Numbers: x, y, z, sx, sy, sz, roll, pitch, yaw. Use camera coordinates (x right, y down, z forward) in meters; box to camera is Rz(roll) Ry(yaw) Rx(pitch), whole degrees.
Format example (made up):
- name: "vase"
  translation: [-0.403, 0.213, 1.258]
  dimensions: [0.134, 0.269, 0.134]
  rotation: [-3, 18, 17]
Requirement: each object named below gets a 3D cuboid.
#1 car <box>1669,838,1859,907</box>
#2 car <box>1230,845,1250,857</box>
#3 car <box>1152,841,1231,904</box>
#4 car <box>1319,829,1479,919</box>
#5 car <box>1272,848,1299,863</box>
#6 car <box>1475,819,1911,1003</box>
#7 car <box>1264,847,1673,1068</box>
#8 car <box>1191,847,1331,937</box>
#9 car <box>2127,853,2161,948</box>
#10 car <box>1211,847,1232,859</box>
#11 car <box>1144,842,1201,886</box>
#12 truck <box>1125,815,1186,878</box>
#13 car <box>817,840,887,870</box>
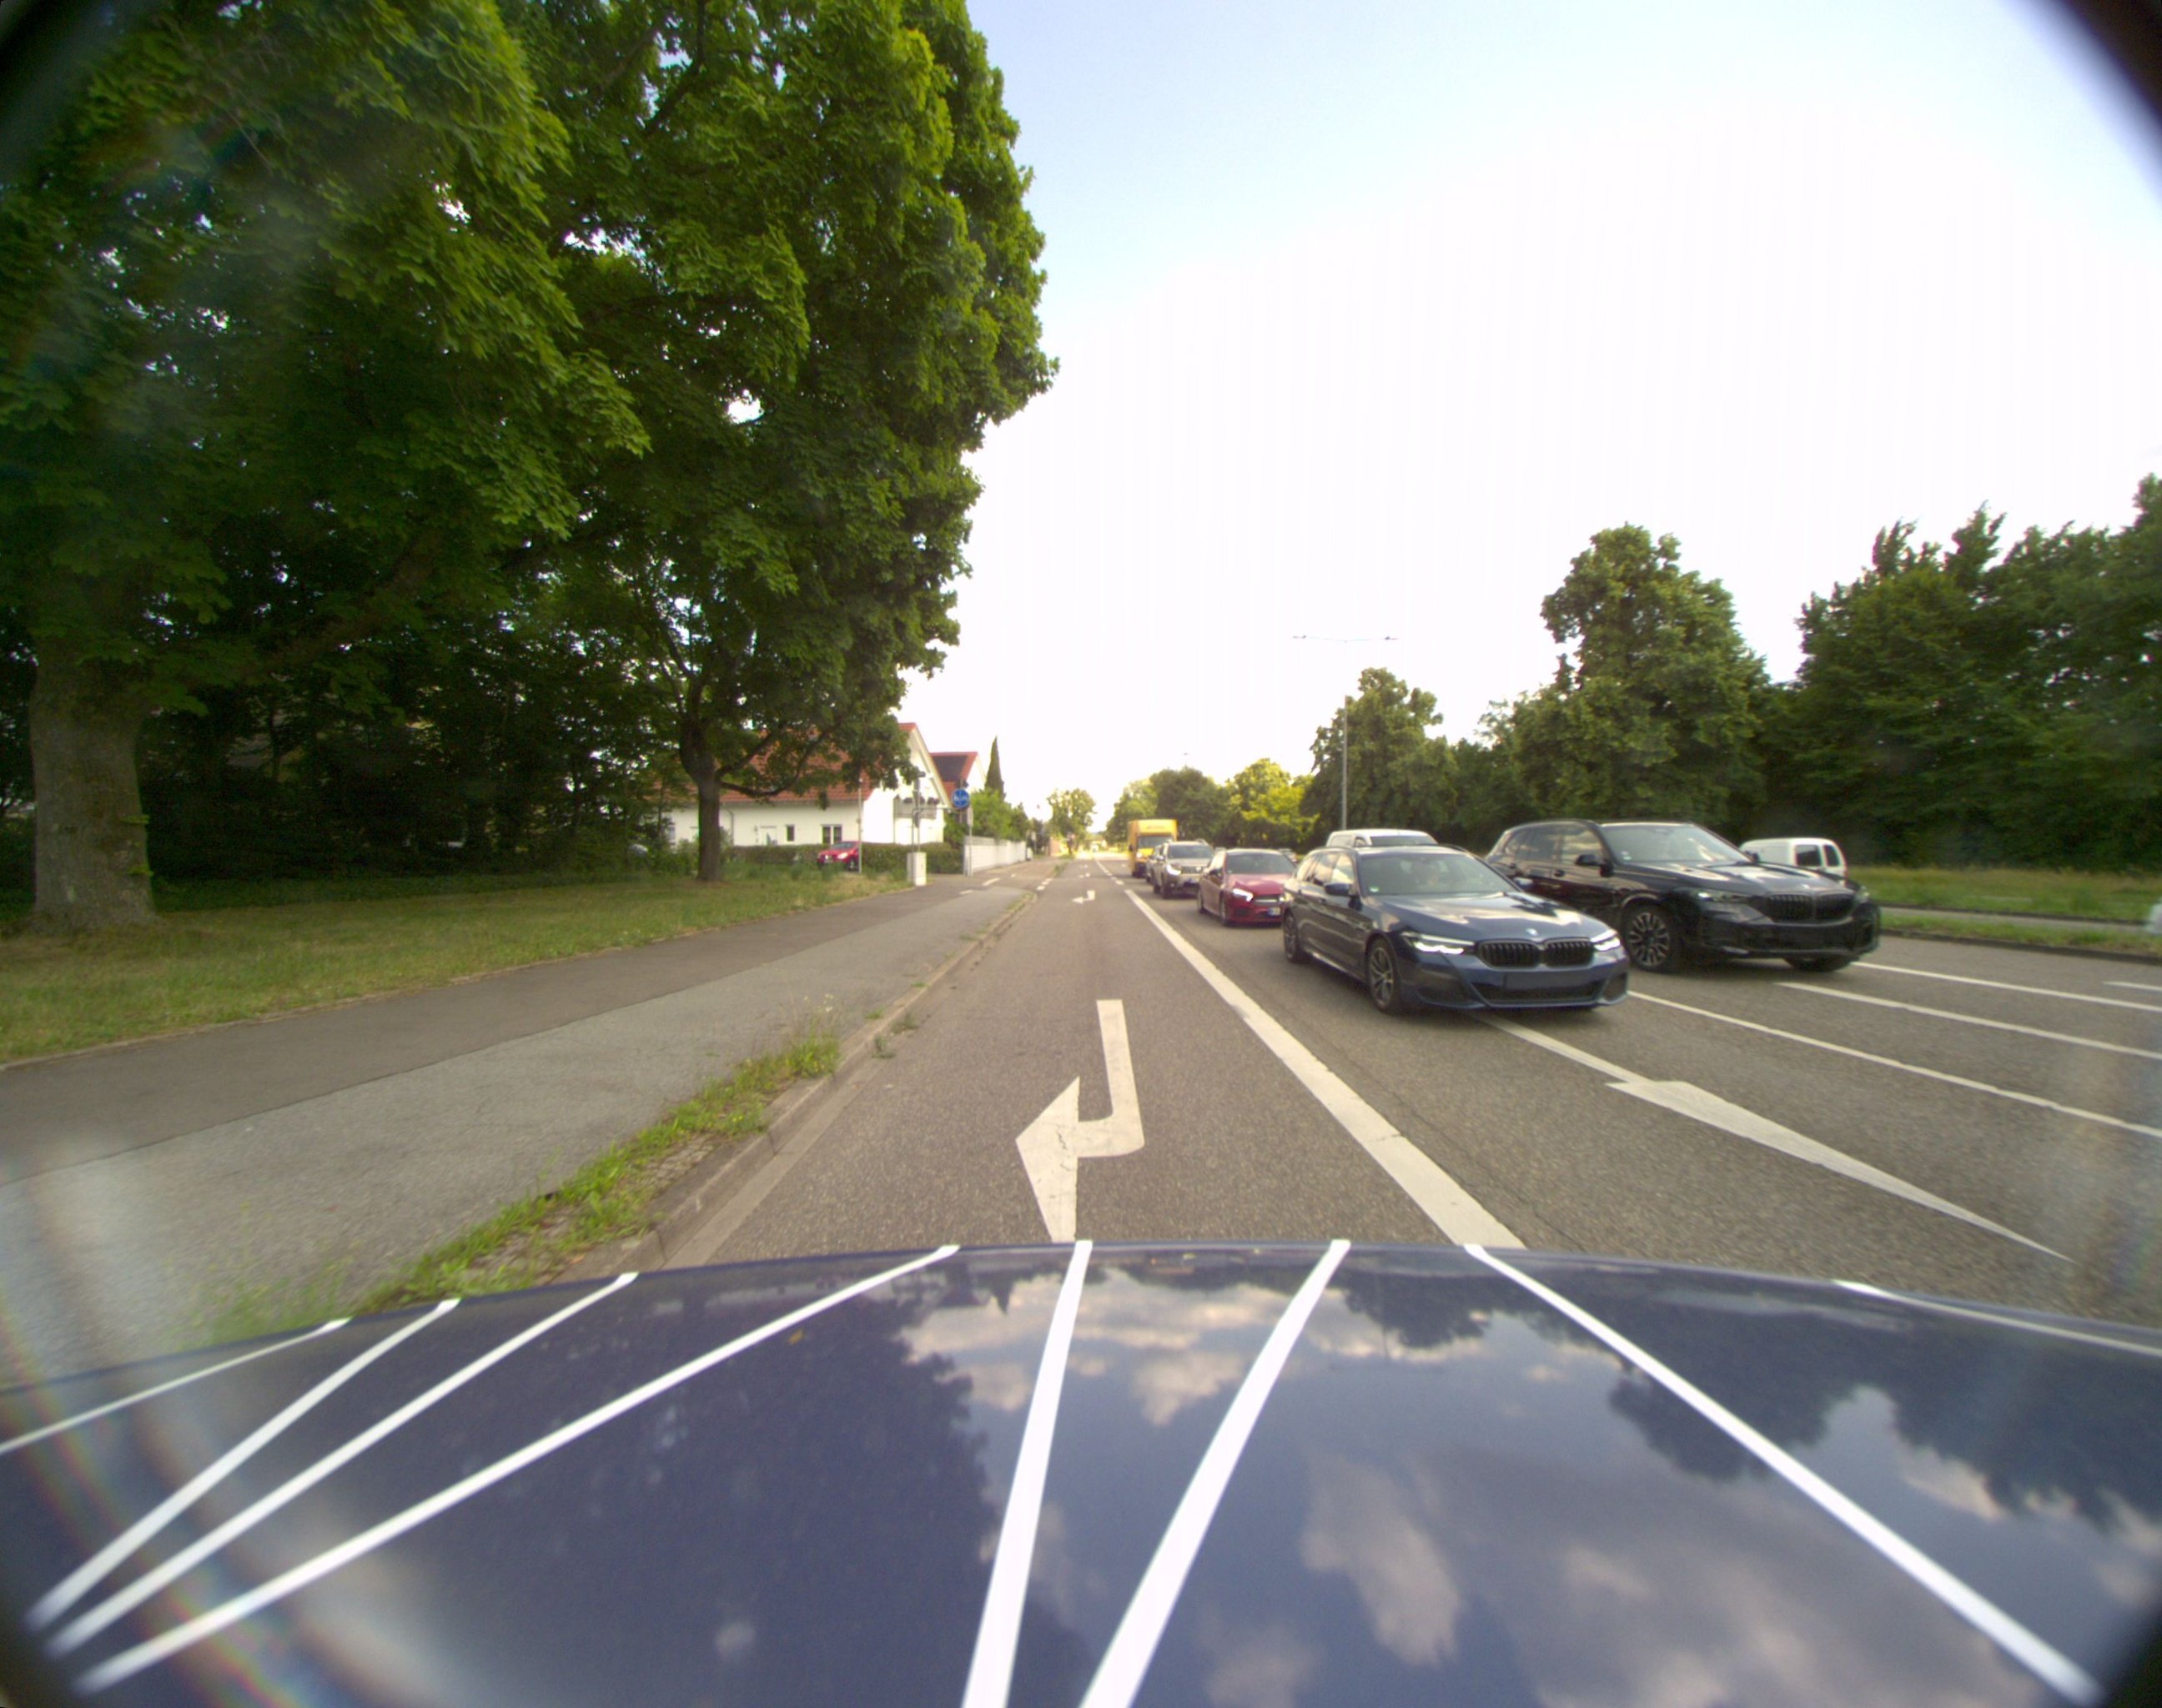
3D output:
- name: "car"
  translation: [19.446, 0.448, 21.933]
  dimensions: [1.675, 1.783, 4.253]
  rotation: [-1, 1, 0]
- name: "car"
  translation: [19.862, -0.403, 95.100]
  dimensions: [1.672, 1.379, 4.237]
  rotation: [1, 1, 0]
- name: "car"
  translation: [3.141, 0.458, 22.353]
  dimensions: [1.727, 1.603, 4.174]
  rotation: [-1, 1, 0]
- name: "car"
  translation: [7.188, 0.355, 17.746]
  dimensions: [1.770, 1.788, 4.729]
  rotation: [-1, 1, 0]
- name: "car"
  translation: [19.641, 0.125, 73.030]
  dimensions: [1.465, 1.363, 3.657]
  rotation: [0, 1, -1]
- name: "car"
  translation: [7.021, 0.499, 9.533]
  dimensions: [1.817, 1.736, 4.548]
  rotation: [-1, 1, 0]
- name: "car"
  translation: [3.411, 0.733, 7.956]
  dimensions: [1.801, 1.488, 4.871]
  rotation: [-2, 1, 0]
- name: "car"
  translation: [3.412, 0.628, 15.272]
  dimensions: [1.727, 1.454, 4.534]
  rotation: [-2, 1, 0]
- name: "car"
  translation: [15.785, 0.700, 8.962]
  dimensions: [1.757, 1.300, 3.693]
  rotation: [1, 1, 1]
- name: "car"
  translation: [16.507, -0.113, 89.273]
  dimensions: [1.672, 1.416, 4.237]
  rotation: [0, 1, 0]
- name: "car"
  translation: [3.511, 0.349, 29.680]
  dimensions: [1.727, 1.522, 3.893]
  rotation: [-2, 1, 0]
- name: "truck"
  translation: [3.640, -0.388, 38.690]
  dimensions: [2.364, 2.843, 6.965]
  rotation: [-2, 1, 0]
- name: "car"
  translation: [-12.003, 0.027, 40.126]
  dimensions: [1.679, 1.522, 4.396]
  rotation: [0, 1, 11]
